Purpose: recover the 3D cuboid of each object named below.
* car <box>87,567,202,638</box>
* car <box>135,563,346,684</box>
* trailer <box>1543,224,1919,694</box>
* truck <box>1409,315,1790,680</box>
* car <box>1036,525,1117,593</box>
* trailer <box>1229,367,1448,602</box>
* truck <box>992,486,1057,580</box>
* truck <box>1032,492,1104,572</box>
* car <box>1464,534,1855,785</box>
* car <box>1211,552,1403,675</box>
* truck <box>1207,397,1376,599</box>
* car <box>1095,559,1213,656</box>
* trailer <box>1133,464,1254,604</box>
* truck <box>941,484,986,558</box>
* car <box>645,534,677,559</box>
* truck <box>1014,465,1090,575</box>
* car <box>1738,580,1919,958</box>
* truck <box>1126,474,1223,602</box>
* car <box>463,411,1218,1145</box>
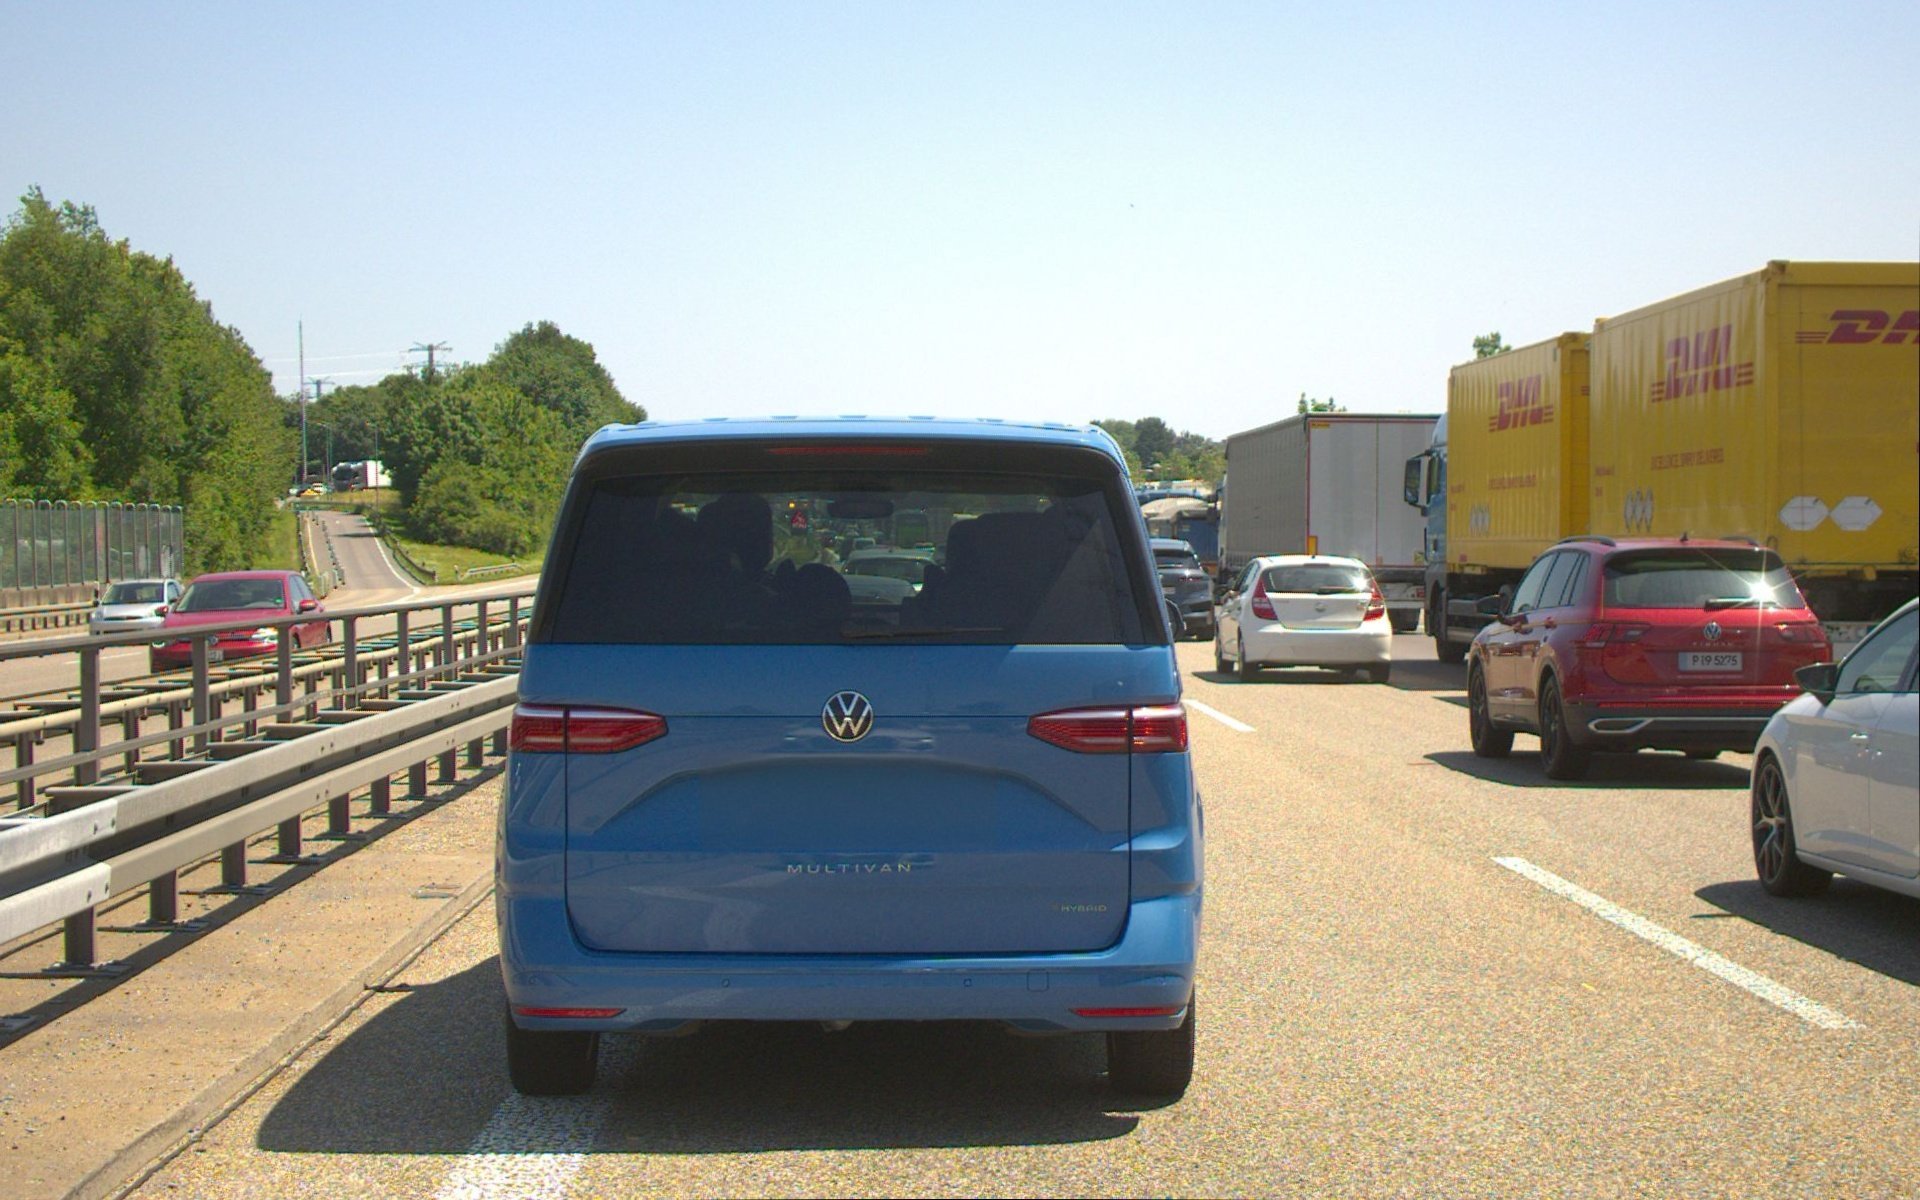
[{"bbox_3d":[-17.670,0.034,74.614,1.604,1.389,3.677,-2,1,-1],"label":"car"},{"bbox_3d":[-9.179,0.278,44.182,1.842,1.441,4.419,1,0,-1],"label":"car"},{"bbox_3d":[7.945,-1.226,33.983,2.701,4.010,8.931,1,0,-1],"label":"trailer"},{"bbox_3d":[7.832,-1.168,43.638,2.722,4.041,10.336,1,0,-1],"label":"truck"},{"bbox_3d":[2.744,-0.969,81.570,1.715,1.535,3.821,-1,1,-1],"label":"car"},{"bbox_3d":[7.194,-2.086,66.892,2.755,4.132,11.312,1,0,-1],"label":"trailer"},{"bbox_3d":[3.523,-3.618,190.637,2.833,5.023,11.818,1,0,-2],"label":"truck"},{"bbox_3d":[4.567,-2.850,146.884,2.355,3.207,9.742,1,0,-2],"label":"truck"},{"bbox_3d":[4.776,0.349,24.033,1.851,1.603,4.000,0,1,-1],"label":"car"},{"bbox_3d":[4.131,0.123,41.485,1.838,1.409,4.000,0,1,-1],"label":"car"},{"bbox_3d":[7.051,-2.115,73.950,2.768,4.081,6.984,1,0,-1],"label":"truck"},{"bbox_3d":[3.253,0.130,58.148,1.715,1.581,3.821,0,0,-1],"label":"car"},{"bbox_3d":[6.557,-1.798,97.951,2.379,3.731,11.189,1,0,-1],"label":"trailer"},{"bbox_3d":[0.231,-6.014,264.531,2.833,5.354,12.556,1,0,-2],"label":"truck"},{"bbox_3d":[-19.853,-3.571,228.164,1.780,1.563,4.387,-2,1,-1],"label":"car"},{"bbox_3d":[4.362,-3.758,164.828,2.833,5.023,11.147,1,0,-2],"label":"truck"},{"bbox_3d":[4.459,0.635,13.542,1.781,1.382,4.188,0,1,-1],"label":"car"},{"bbox_3d":[6.428,-1.834,103.687,2.367,3.709,6.034,1,0,-1],"label":"truck"},{"bbox_3d":[-0.327,0.418,10.590,1.882,1.831,4.000,0,1,-1],"label":"car"}]
